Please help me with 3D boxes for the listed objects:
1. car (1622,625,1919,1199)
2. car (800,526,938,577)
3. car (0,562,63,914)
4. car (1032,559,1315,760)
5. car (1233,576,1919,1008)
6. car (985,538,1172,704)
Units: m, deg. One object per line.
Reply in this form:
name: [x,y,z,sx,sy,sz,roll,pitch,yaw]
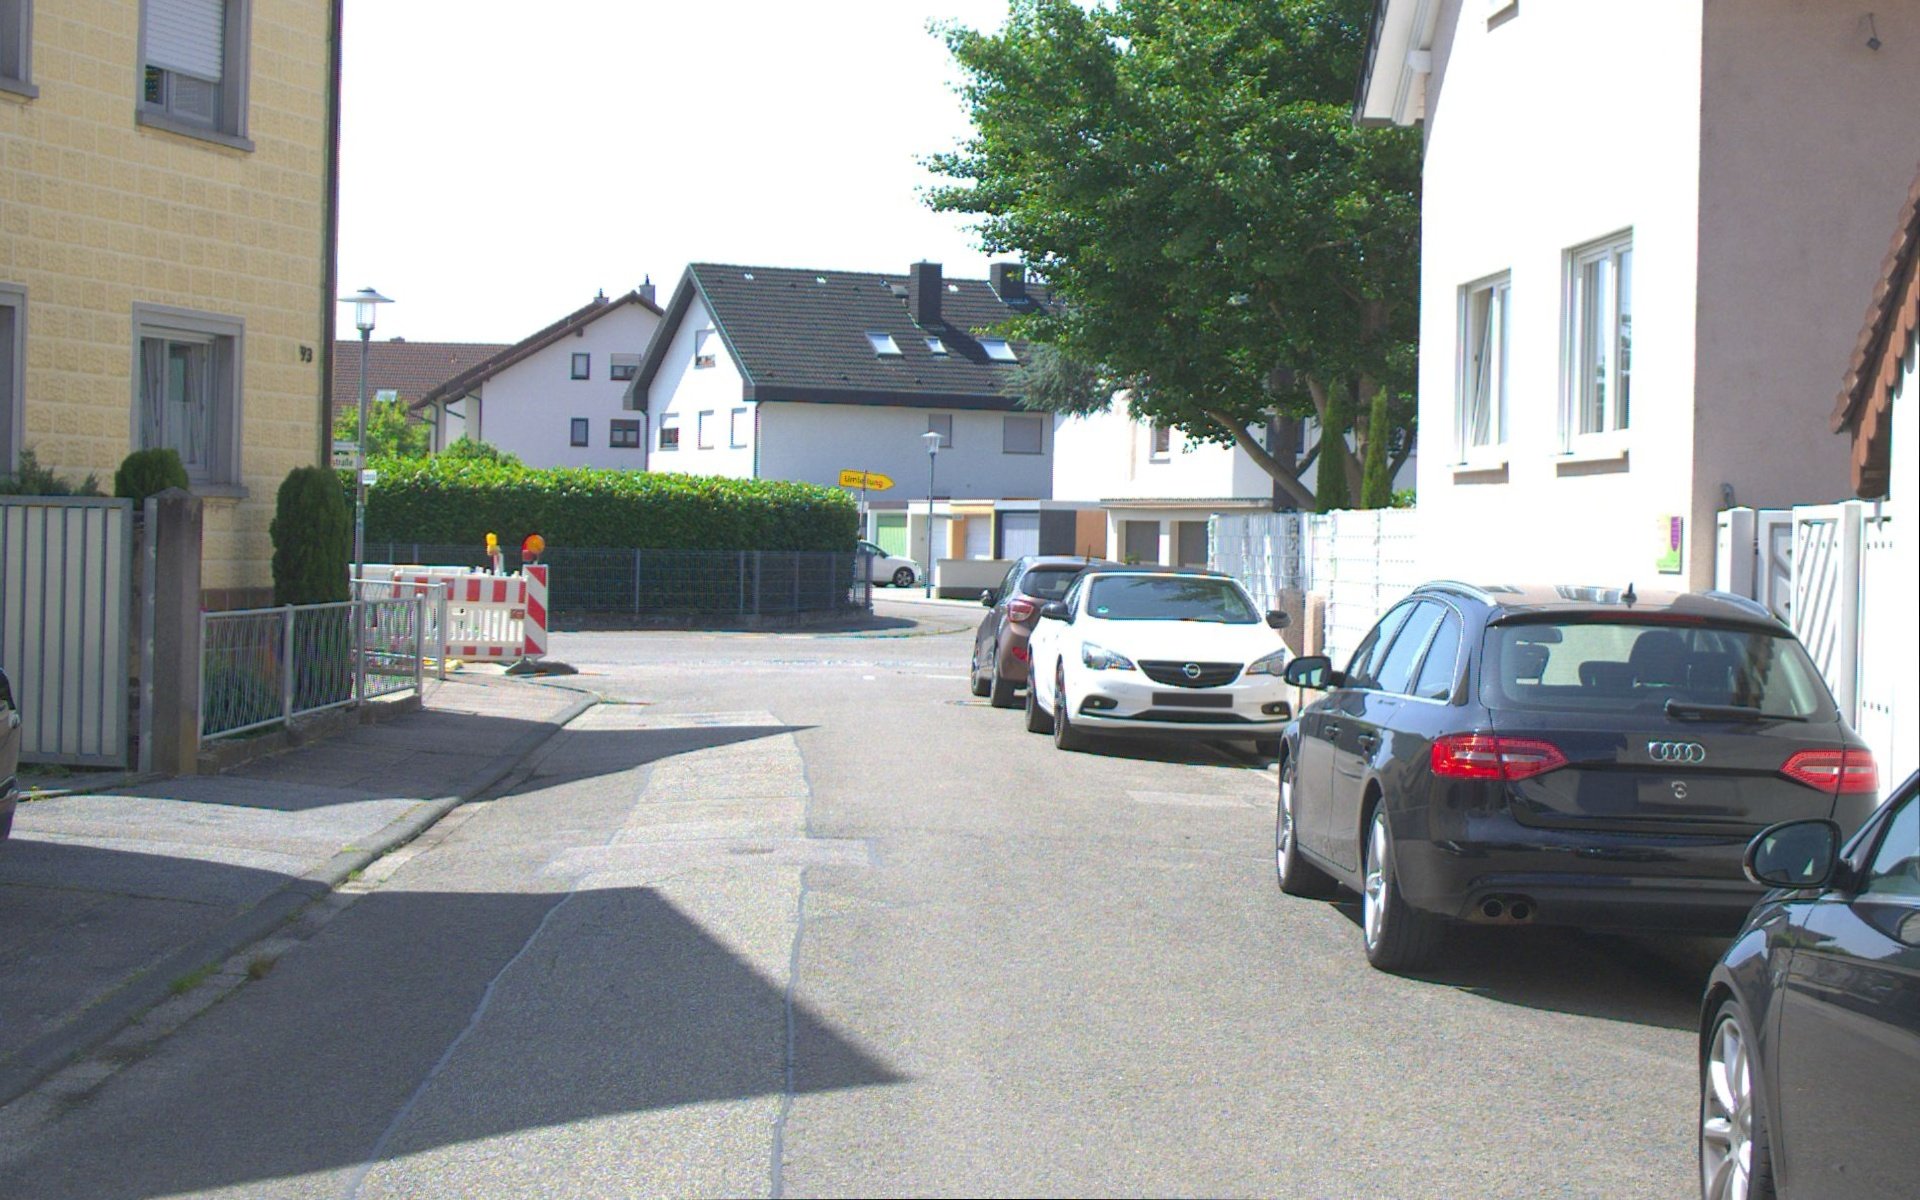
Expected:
car: [2.536,0.803,5.930,1.895,1.360,4.414,2,1,0]
car: [-2.660,-1.418,100.586,3.598,1.403,1.784,1,1,-24]
car: [-5.004,0.497,11.626,1.771,1.345,4.466,2,0,16]
car: [1.642,0.417,28.022,1.895,1.424,4.737,2,1,-1]
car: [2.366,0.635,13.954,1.895,1.360,4.738,2,1,-3]
car: [1.143,0.170,34.785,1.712,1.527,4.036,2,1,0]
